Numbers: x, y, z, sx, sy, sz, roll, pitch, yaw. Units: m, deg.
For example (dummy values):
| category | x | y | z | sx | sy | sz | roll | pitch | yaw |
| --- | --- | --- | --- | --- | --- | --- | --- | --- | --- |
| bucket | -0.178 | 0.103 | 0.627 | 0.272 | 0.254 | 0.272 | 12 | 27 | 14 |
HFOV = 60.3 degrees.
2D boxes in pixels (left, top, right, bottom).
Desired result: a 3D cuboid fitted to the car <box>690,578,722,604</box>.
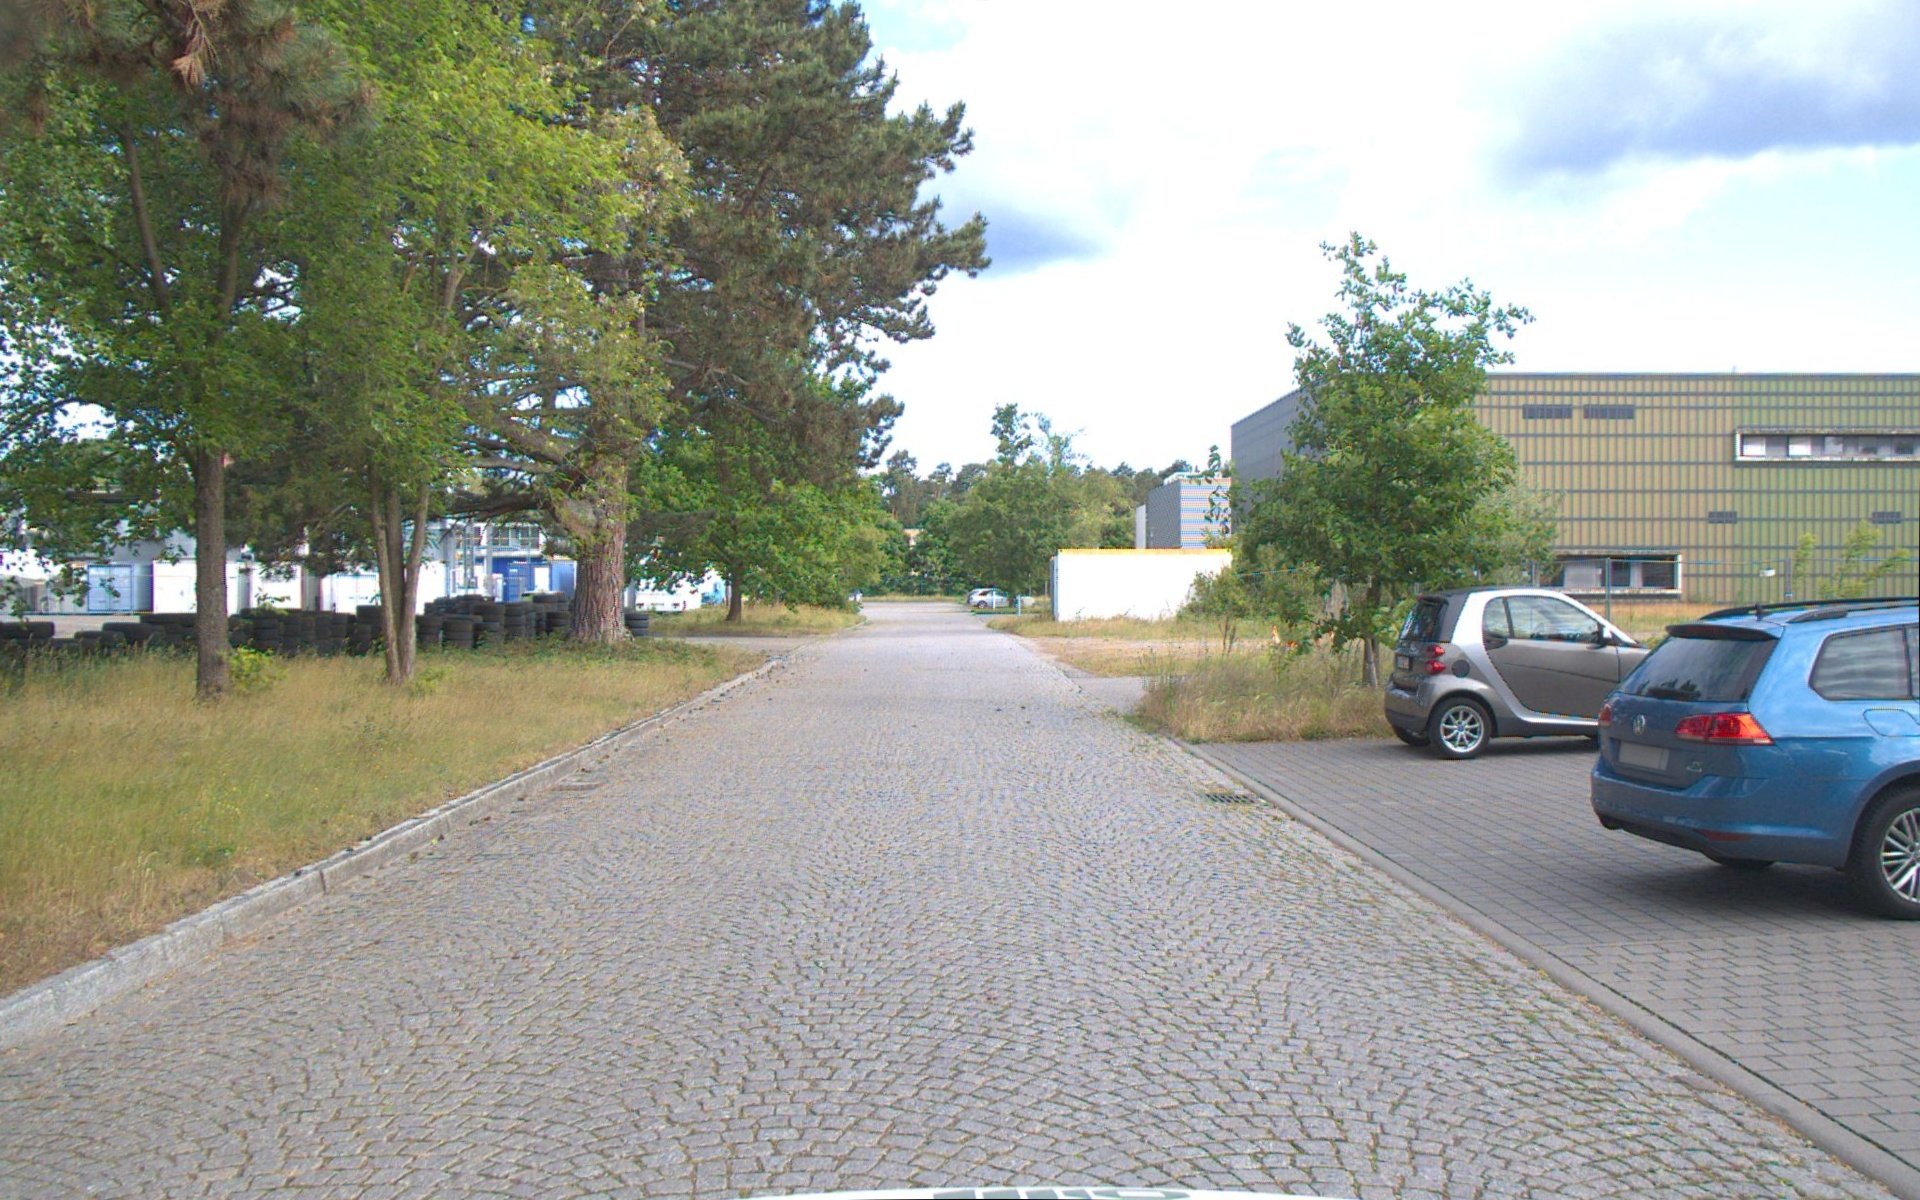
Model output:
| category | x | y | z | sx | sy | sz | roll | pitch | yaw |
| --- | --- | --- | --- | --- | --- | --- | --- | --- | --- |
| car | -20.679 | -0.760 | 134.831 | 1.953 | 2.049 | 4.767 | 0 | 0 | -1 |

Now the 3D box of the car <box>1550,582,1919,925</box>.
| category | x | y | z | sx | sy | sz | roll | pitch | yaw |
| --- | --- | --- | --- | --- | --- | --- | --- | --- | --- |
| car | 5.671 | 0.654 | 8.766 | 4.402 | 1.501 | 1.829 | -3 | 1 | -4 |

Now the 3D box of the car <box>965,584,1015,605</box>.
| category | x | y | z | sx | sy | sz | roll | pitch | yaw |
| --- | --- | --- | --- | --- | --- | --- | --- | --- | --- |
| car | 2.397 | -0.475 | 133.665 | 3.904 | 1.501 | 1.653 | -2 | 0 | -1 |

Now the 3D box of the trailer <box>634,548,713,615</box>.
| category | x | y | z | sx | sy | sz | roll | pitch | yaw |
| --- | --- | --- | --- | --- | --- | --- | --- | --- | --- |
| trailer | -16.369 | -1.057 | 95.098 | 2.571 | 3.660 | 10.179 | 0 | 0 | 1 |

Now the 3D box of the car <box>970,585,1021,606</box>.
| category | x | y | z | sx | sy | sz | roll | pitch | yaw |
| --- | --- | --- | --- | --- | --- | --- | --- | --- | --- |
| car | 2.734 | -0.366 | 128.541 | 3.904 | 1.473 | 1.653 | -2 | 0 | -1 |

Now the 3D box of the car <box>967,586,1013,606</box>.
| category | x | y | z | sx | sy | sz | roll | pitch | yaw |
| --- | --- | --- | --- | --- | --- | --- | --- | --- | --- |
| car | 2.254 | -0.335 | 125.835 | 3.451 | 1.386 | 1.622 | -2 | 0 | -1 |

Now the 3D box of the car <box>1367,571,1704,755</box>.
| category | x | y | z | sx | sy | sz | roll | pitch | yaw |
| --- | --- | --- | --- | --- | --- | --- | --- | --- | --- |
| car | 5.512 | 0.575 | 16.072 | 2.655 | 1.583 | 1.653 | -2 | 0 | 0 |

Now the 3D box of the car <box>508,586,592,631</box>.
| category | x | y | z | sx | sy | sz | roll | pitch | yaw |
| --- | --- | --- | --- | --- | --- | --- | --- | --- | --- |
| car | -14.122 | 0.270 | 57.156 | 1.591 | 1.458 | 4.066 | 0 | 1 | 4 |
